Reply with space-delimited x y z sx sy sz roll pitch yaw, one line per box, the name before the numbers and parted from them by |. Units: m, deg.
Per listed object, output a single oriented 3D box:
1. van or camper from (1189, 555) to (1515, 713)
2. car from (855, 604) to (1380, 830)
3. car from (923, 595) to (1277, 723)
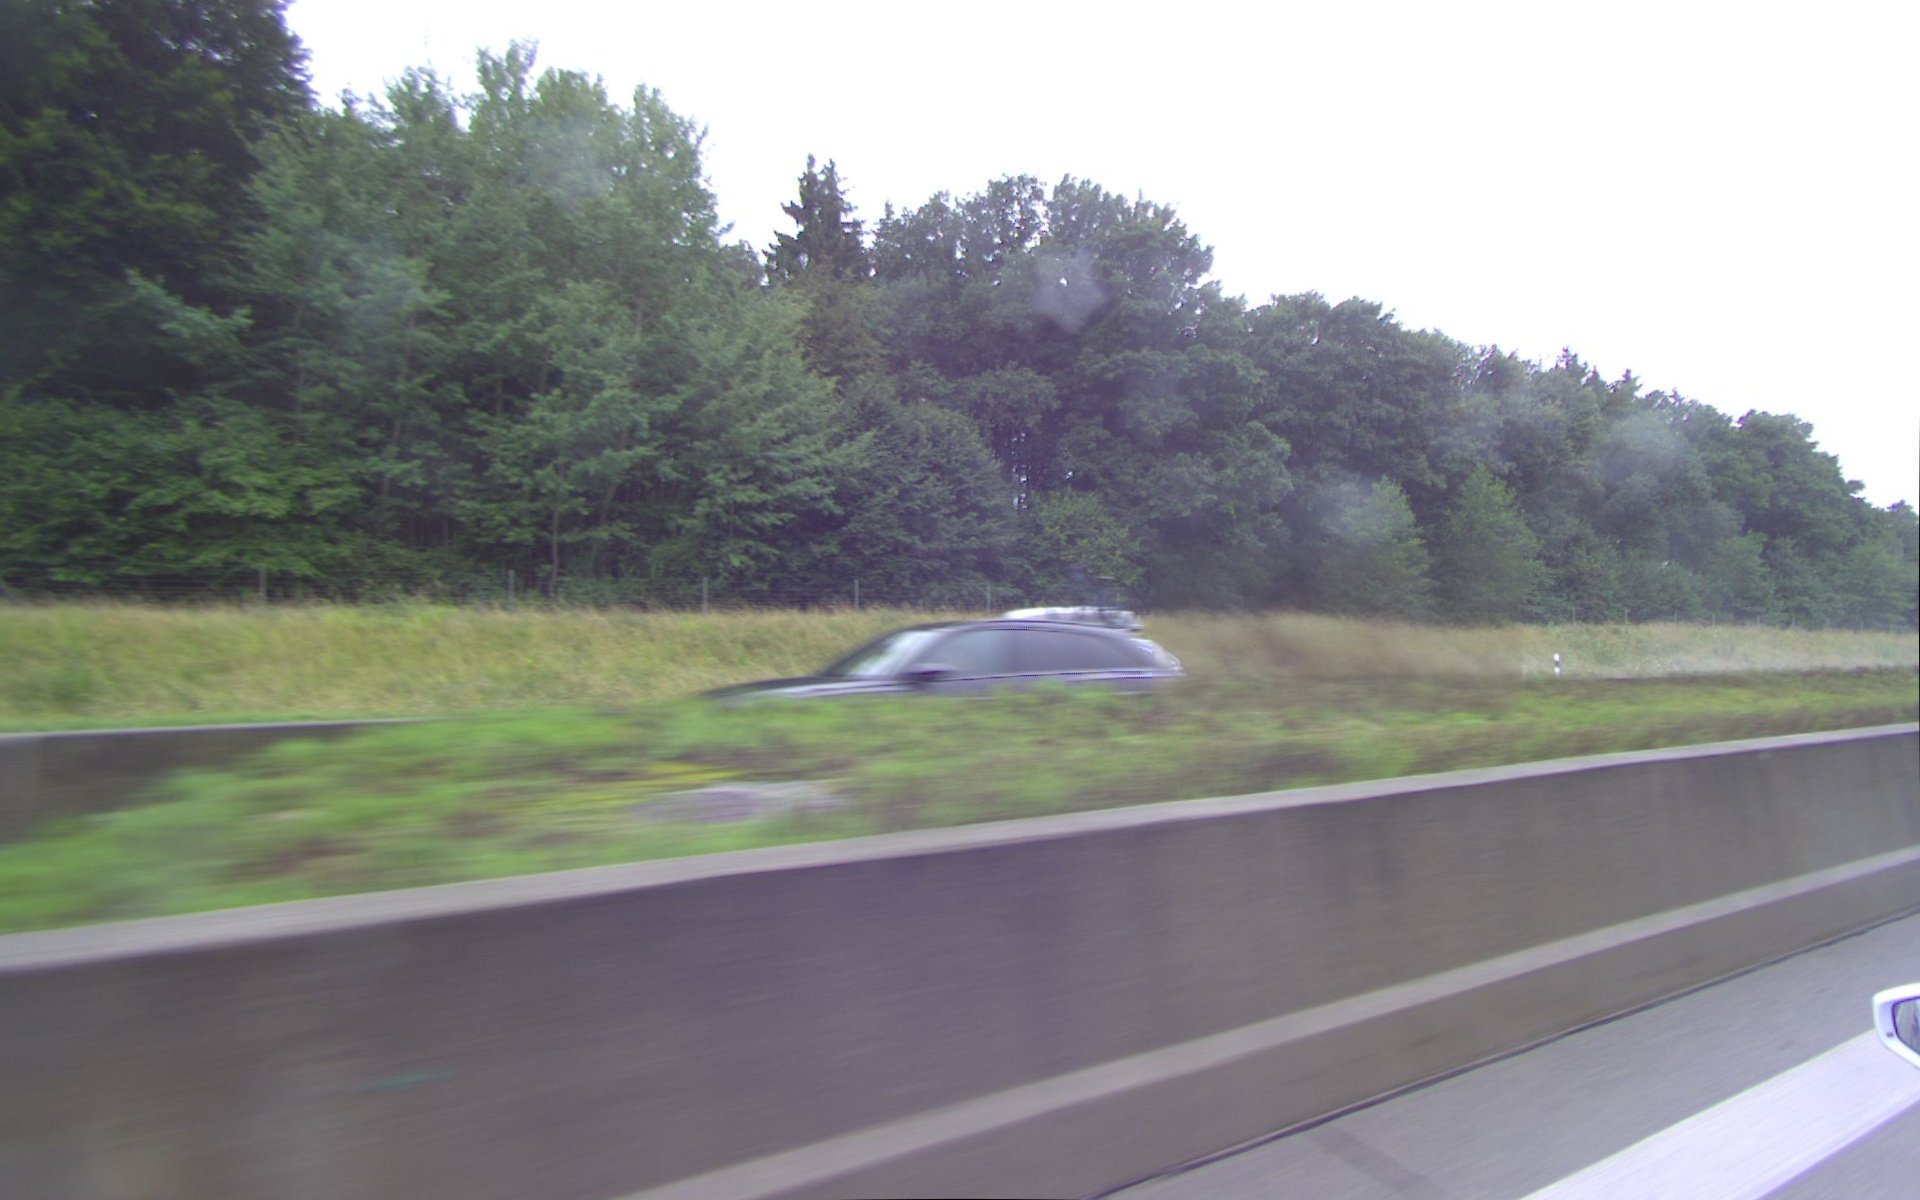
van or camper | 7.187 0.629 18.210 5.851 2.461 2.489 2 -2 -31
car | 1.657 0.958 9.717 5.029 1.706 1.846 1 -2 -31
car | 2.235 0.897 15.384 5.347 1.665 1.984 2 -3 -31
